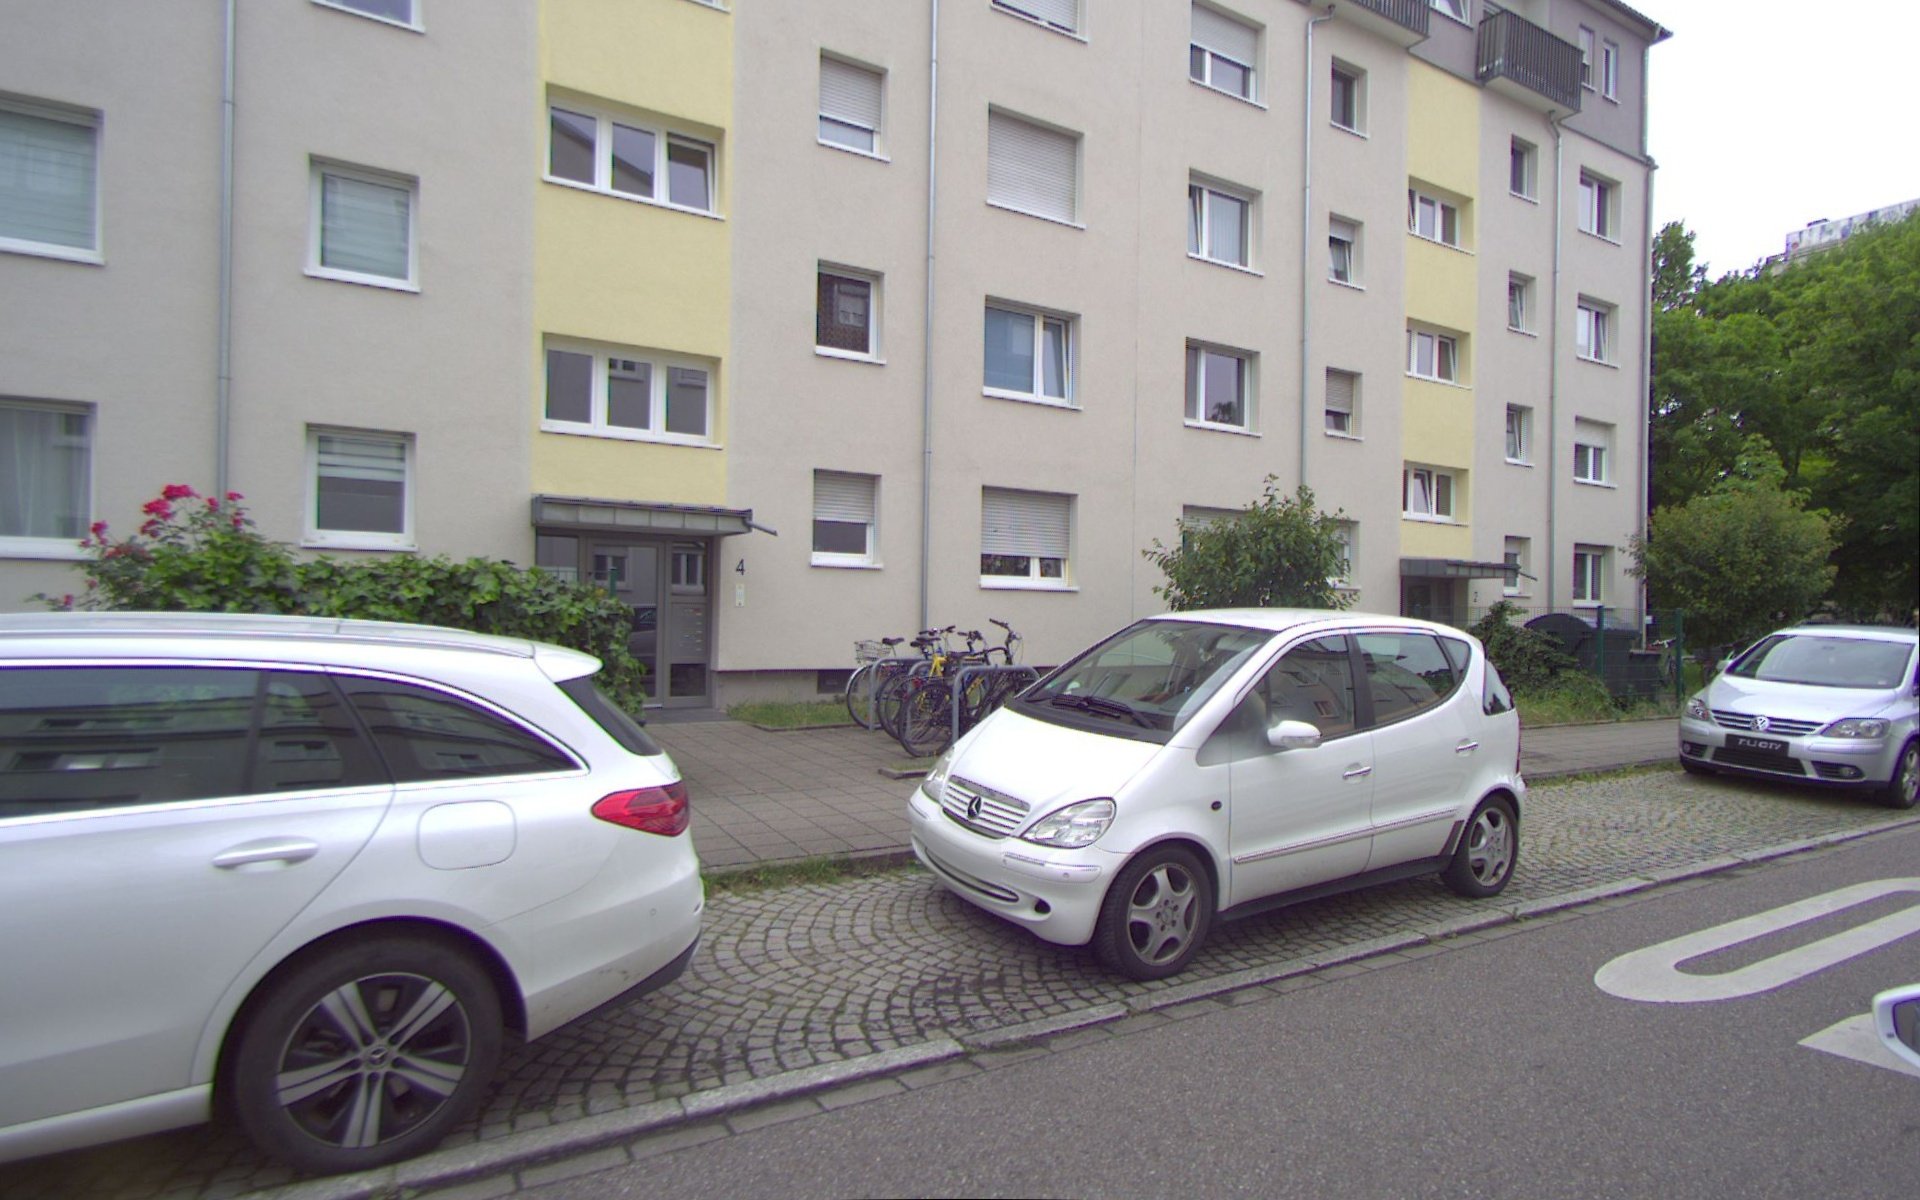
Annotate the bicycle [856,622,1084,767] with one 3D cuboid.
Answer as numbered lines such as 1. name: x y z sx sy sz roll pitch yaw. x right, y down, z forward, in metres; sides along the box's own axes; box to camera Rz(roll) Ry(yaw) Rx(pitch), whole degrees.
1. bicycle: 0.116 0.834 9.467 2.066 1.227 0.728 1 0 -31

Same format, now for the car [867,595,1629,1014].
1. car: 1.877 0.866 6.047 4.471 1.620 1.884 1 2 -32

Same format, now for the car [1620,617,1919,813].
1. car: 8.797 1.008 10.222 3.955 1.561 1.983 1 1 -32

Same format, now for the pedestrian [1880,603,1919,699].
1. pedestrian: 17.471 0.927 18.487 0.640 1.736 0.598 1 0 -28

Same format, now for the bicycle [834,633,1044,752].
1. bicycle: -0.197 0.898 10.314 2.066 1.092 0.728 1 0 -31

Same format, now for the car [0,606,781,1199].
1. car: -2.993 0.802 2.953 4.470 1.472 1.885 1 2 -31

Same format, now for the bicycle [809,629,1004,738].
1. bicycle: -0.576 0.884 11.195 2.066 1.092 0.728 1 0 -31
